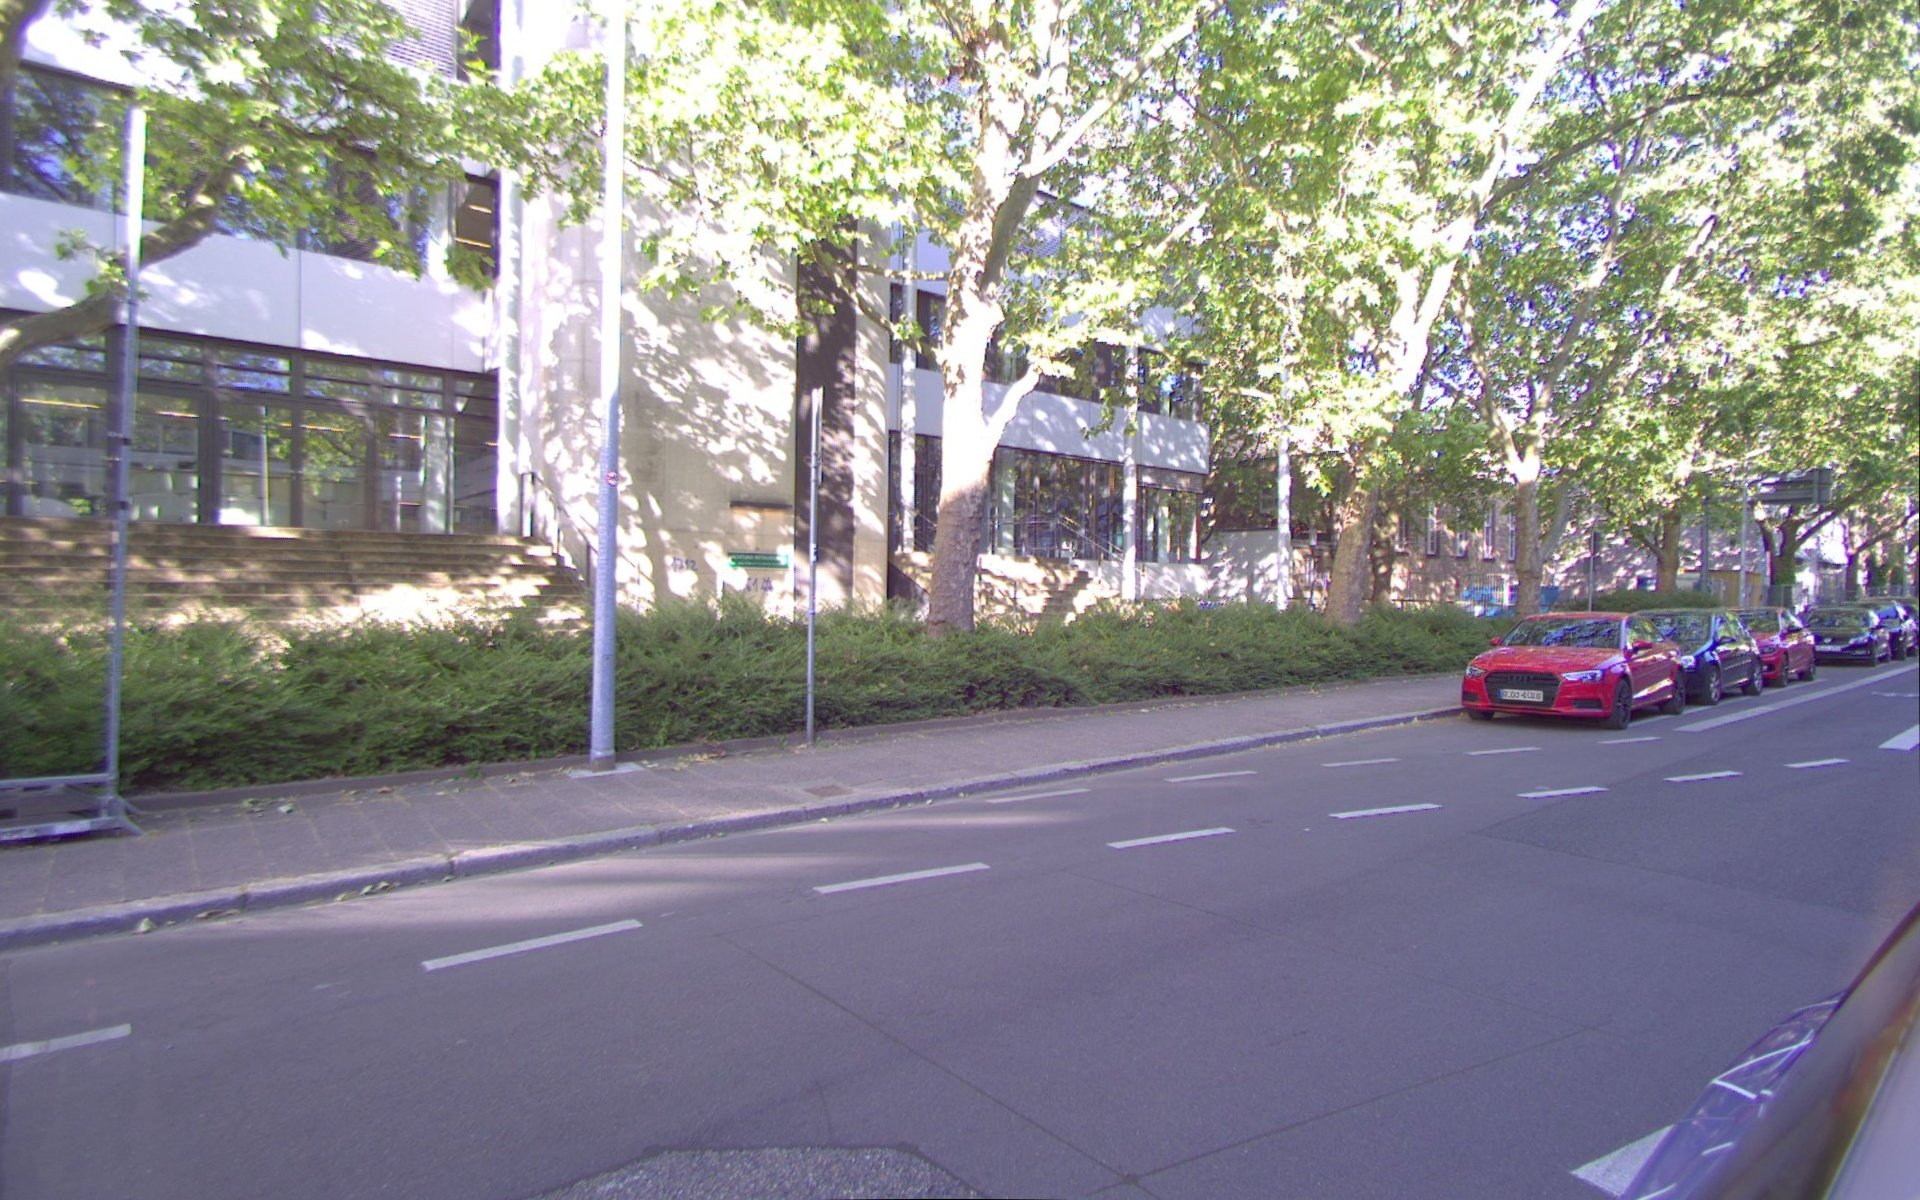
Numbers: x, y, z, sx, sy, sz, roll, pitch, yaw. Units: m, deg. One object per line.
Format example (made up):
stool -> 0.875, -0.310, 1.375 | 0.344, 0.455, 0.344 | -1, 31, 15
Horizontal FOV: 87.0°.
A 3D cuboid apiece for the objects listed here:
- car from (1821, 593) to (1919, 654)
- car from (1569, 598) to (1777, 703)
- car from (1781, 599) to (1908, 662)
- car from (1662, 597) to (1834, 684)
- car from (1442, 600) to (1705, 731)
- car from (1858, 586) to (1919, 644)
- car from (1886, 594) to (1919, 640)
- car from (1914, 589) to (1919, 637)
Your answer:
car -> 26.536, 0.608, 29.180 | 4.070, 1.621, 1.997 | -1, 0, -41
car -> 11.735, 0.727, 16.601 | 3.581, 1.478, 1.997 | -1, 0, -41
car -> 22.815, 0.723, 26.063 | 3.527, 1.474, 1.997 | -1, 0, -41
car -> 15.658, 0.716, 20.051 | 3.762, 1.517, 1.997 | -1, 0, -41
car -> 8.272, 0.749, 13.525 | 3.930, 1.443, 1.906 | -1, 0, -41
car -> 31.279, 0.449, 33.312 | 4.493, 1.809, 1.997 | -1, 0, -41
car -> 35.935, 0.600, 37.441 | 4.070, 1.585, 1.997 | -1, 0, -41
car -> 39.661, 0.484, 40.343 | 3.930, 1.872, 1.997 | -1, 0, -41
